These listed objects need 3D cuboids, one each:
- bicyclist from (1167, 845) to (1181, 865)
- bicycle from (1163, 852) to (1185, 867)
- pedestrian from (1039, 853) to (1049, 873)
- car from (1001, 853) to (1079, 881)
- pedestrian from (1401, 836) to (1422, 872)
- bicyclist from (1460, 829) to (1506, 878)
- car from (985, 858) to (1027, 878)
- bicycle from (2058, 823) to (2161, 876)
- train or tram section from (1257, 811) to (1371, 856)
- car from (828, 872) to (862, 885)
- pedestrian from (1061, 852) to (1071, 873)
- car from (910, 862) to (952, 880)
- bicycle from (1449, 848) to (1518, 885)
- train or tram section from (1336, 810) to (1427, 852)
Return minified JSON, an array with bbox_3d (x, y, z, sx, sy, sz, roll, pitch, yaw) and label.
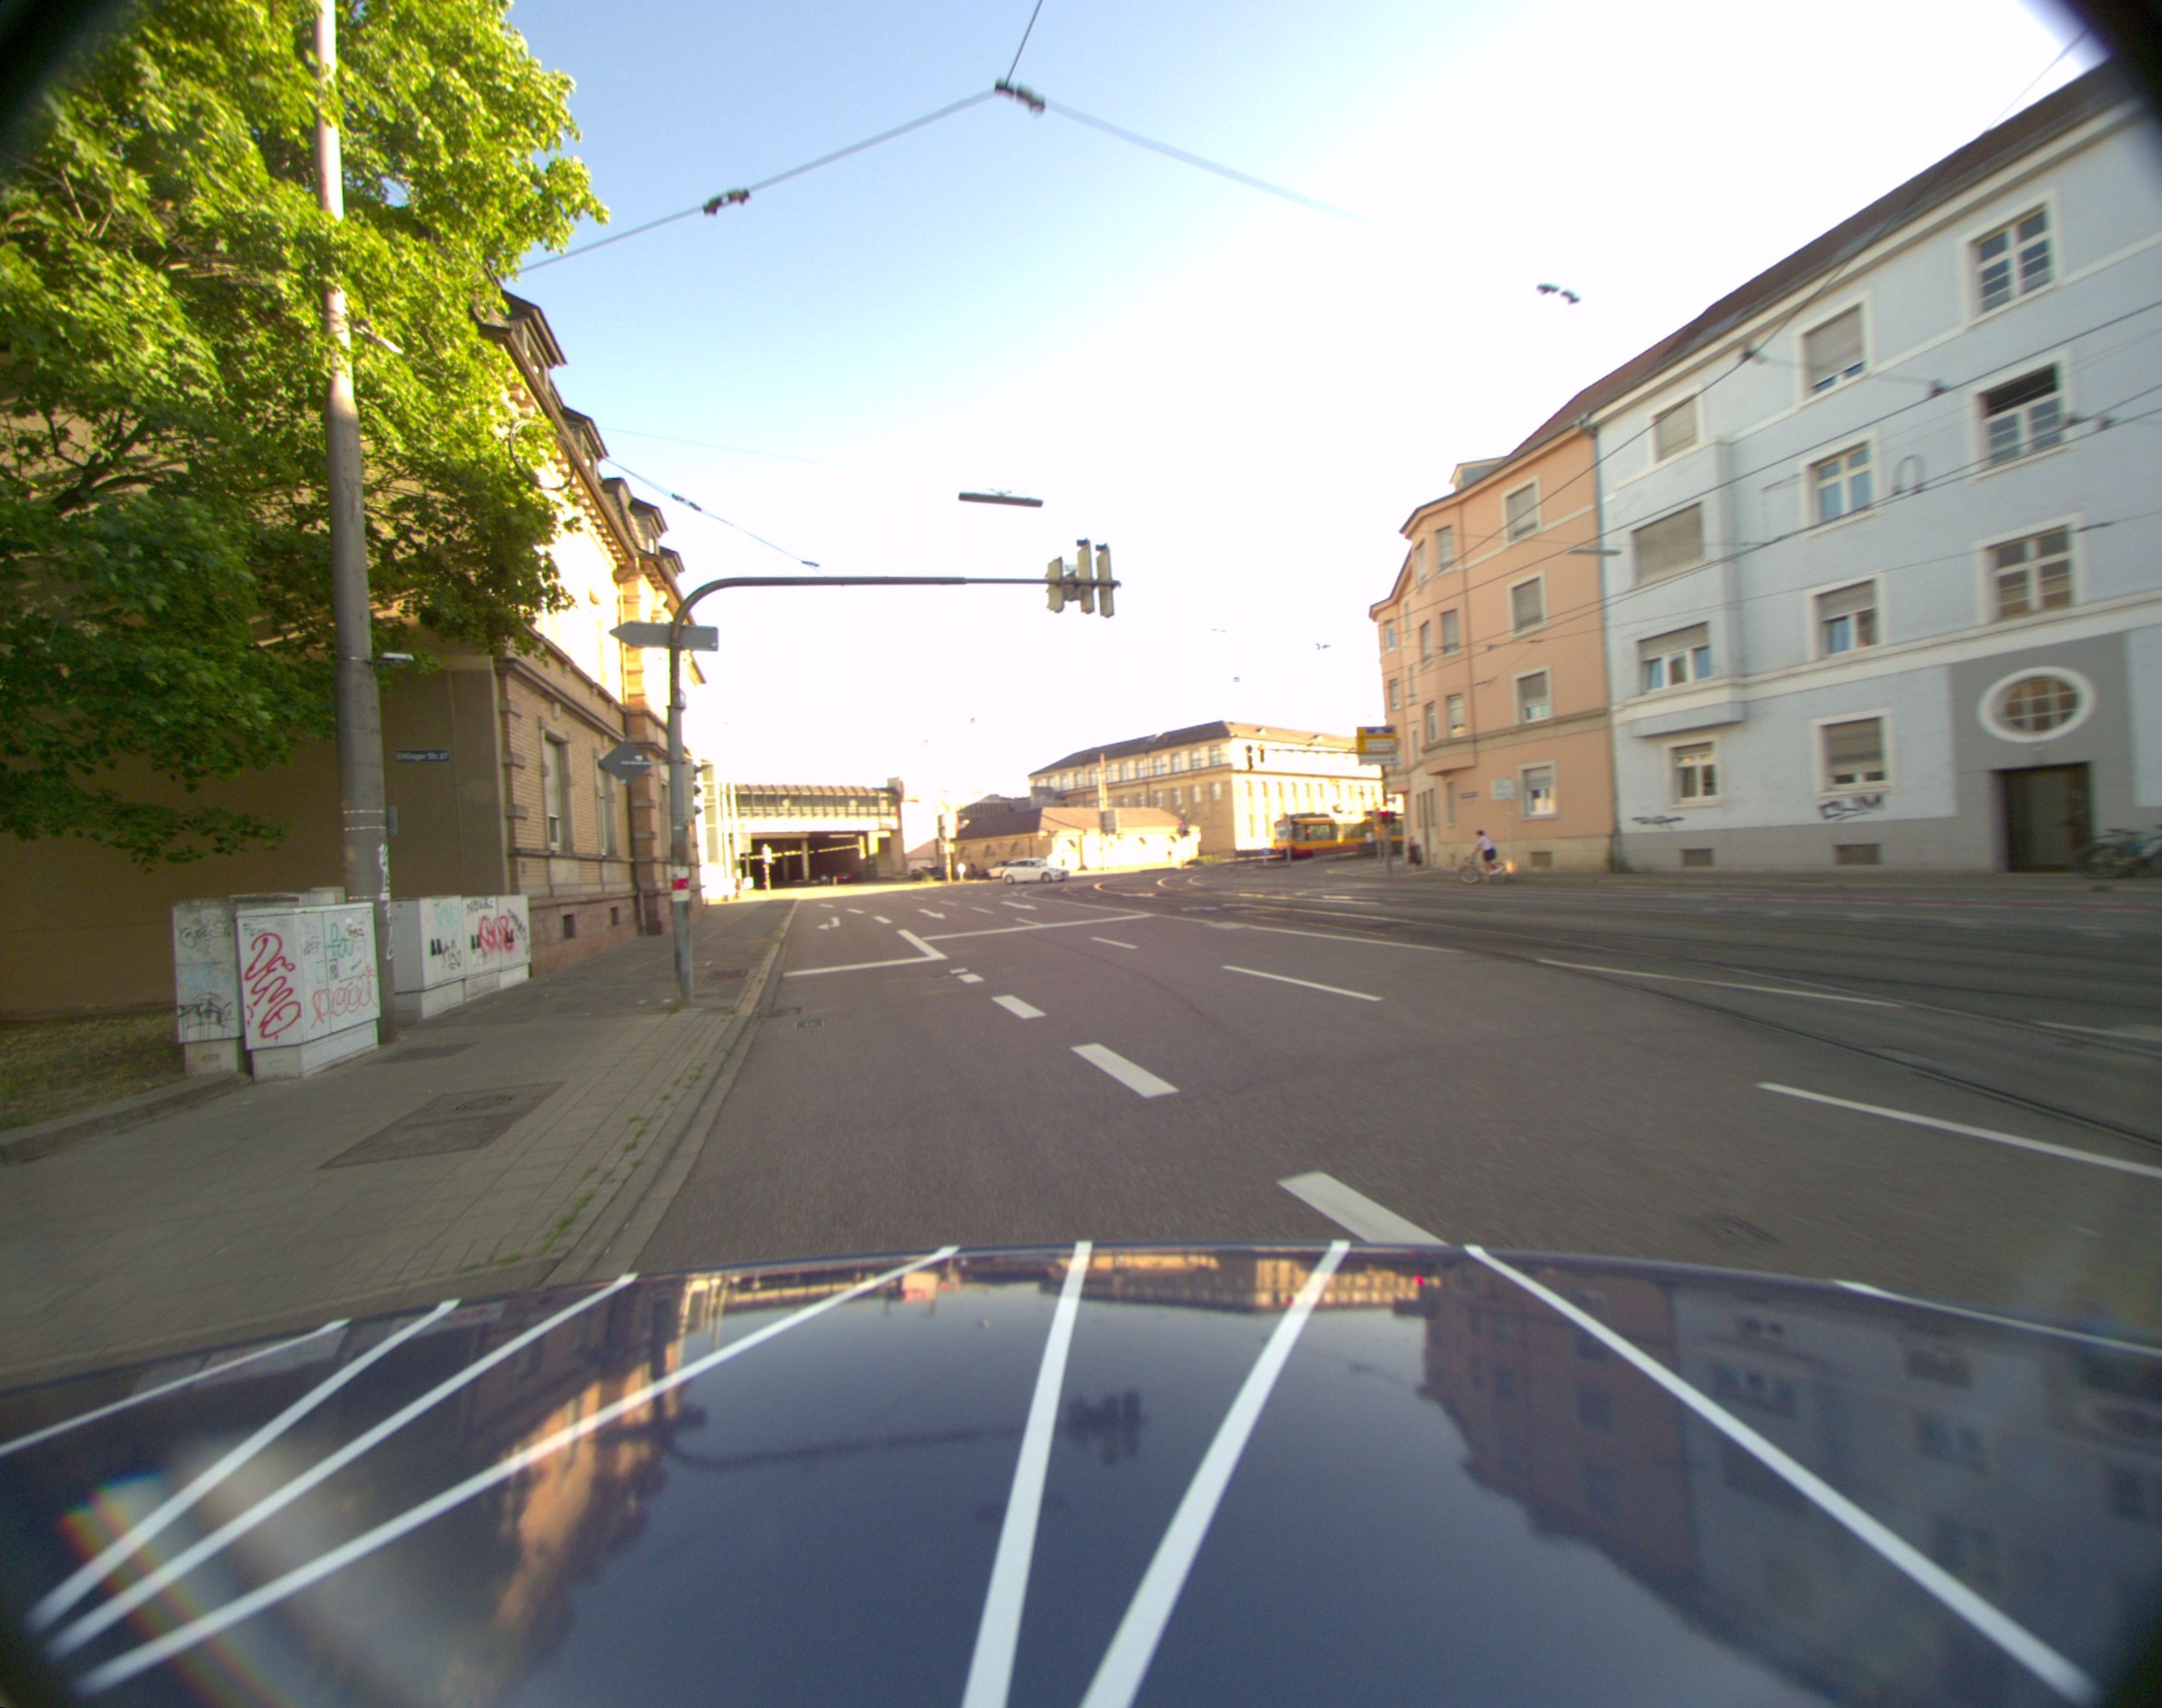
[{"bbox_3d":[7.874,0.054,64.372,0.676,1.630,0.941,-3,2,44],"label":"bicyclist"},{"bbox_3d":[7.863,0.462,64.354,0.684,1.130,2.077,-3,2,44],"label":"bicycle"},{"bbox_3d":[-3.097,0.716,63.381,0.624,1.630,0.515,-3,1,23],"label":"pedestrian"},{"bbox_3d":[-2.413,0.788,44.387,4.095,1.385,1.795,-3,0,28],"label":"car"},{"bbox_3d":[14.688,-0.019,33.781,0.676,1.554,0.721,-3,1,15],"label":"pedestrian"},{"bbox_3d":[14.032,-0.001,26.539,0.749,1.633,1.124,-3,1,-19],"label":"bicyclist"},{"bbox_3d":[-5.624,1.042,56.629,1.734,1.367,3.527,-3,0,-29],"label":"car"},{"bbox_3d":[20.608,-0.095,14.761,0.608,0.974,1.874,-4,1,-19],"label":"bicycle"},{"bbox_3d":[19.803,-1.807,63.981,11.838,3.301,3.160,-4,0,-41],"label":"train or tram section"},{"bbox_3d":[-26.792,2.796,86.154,2.003,1.384,4.550,-4,0,-39],"label":"car"},{"bbox_3d":[-1.230,0.709,61.851,0.624,1.630,0.490,-3,1,23],"label":"pedestrian"},{"bbox_3d":[-13.550,1.572,68.610,1.931,1.447,4.487,-4,0,-37],"label":"car"},{"bbox_3d":[14.036,0.430,26.567,0.749,1.184,2.149,-3,0,-19],"label":"bicycle"},{"bbox_3d":[28.396,-2.245,71.373,10.698,3.337,3.158,-5,1,-41],"label":"train or tram section"}]
